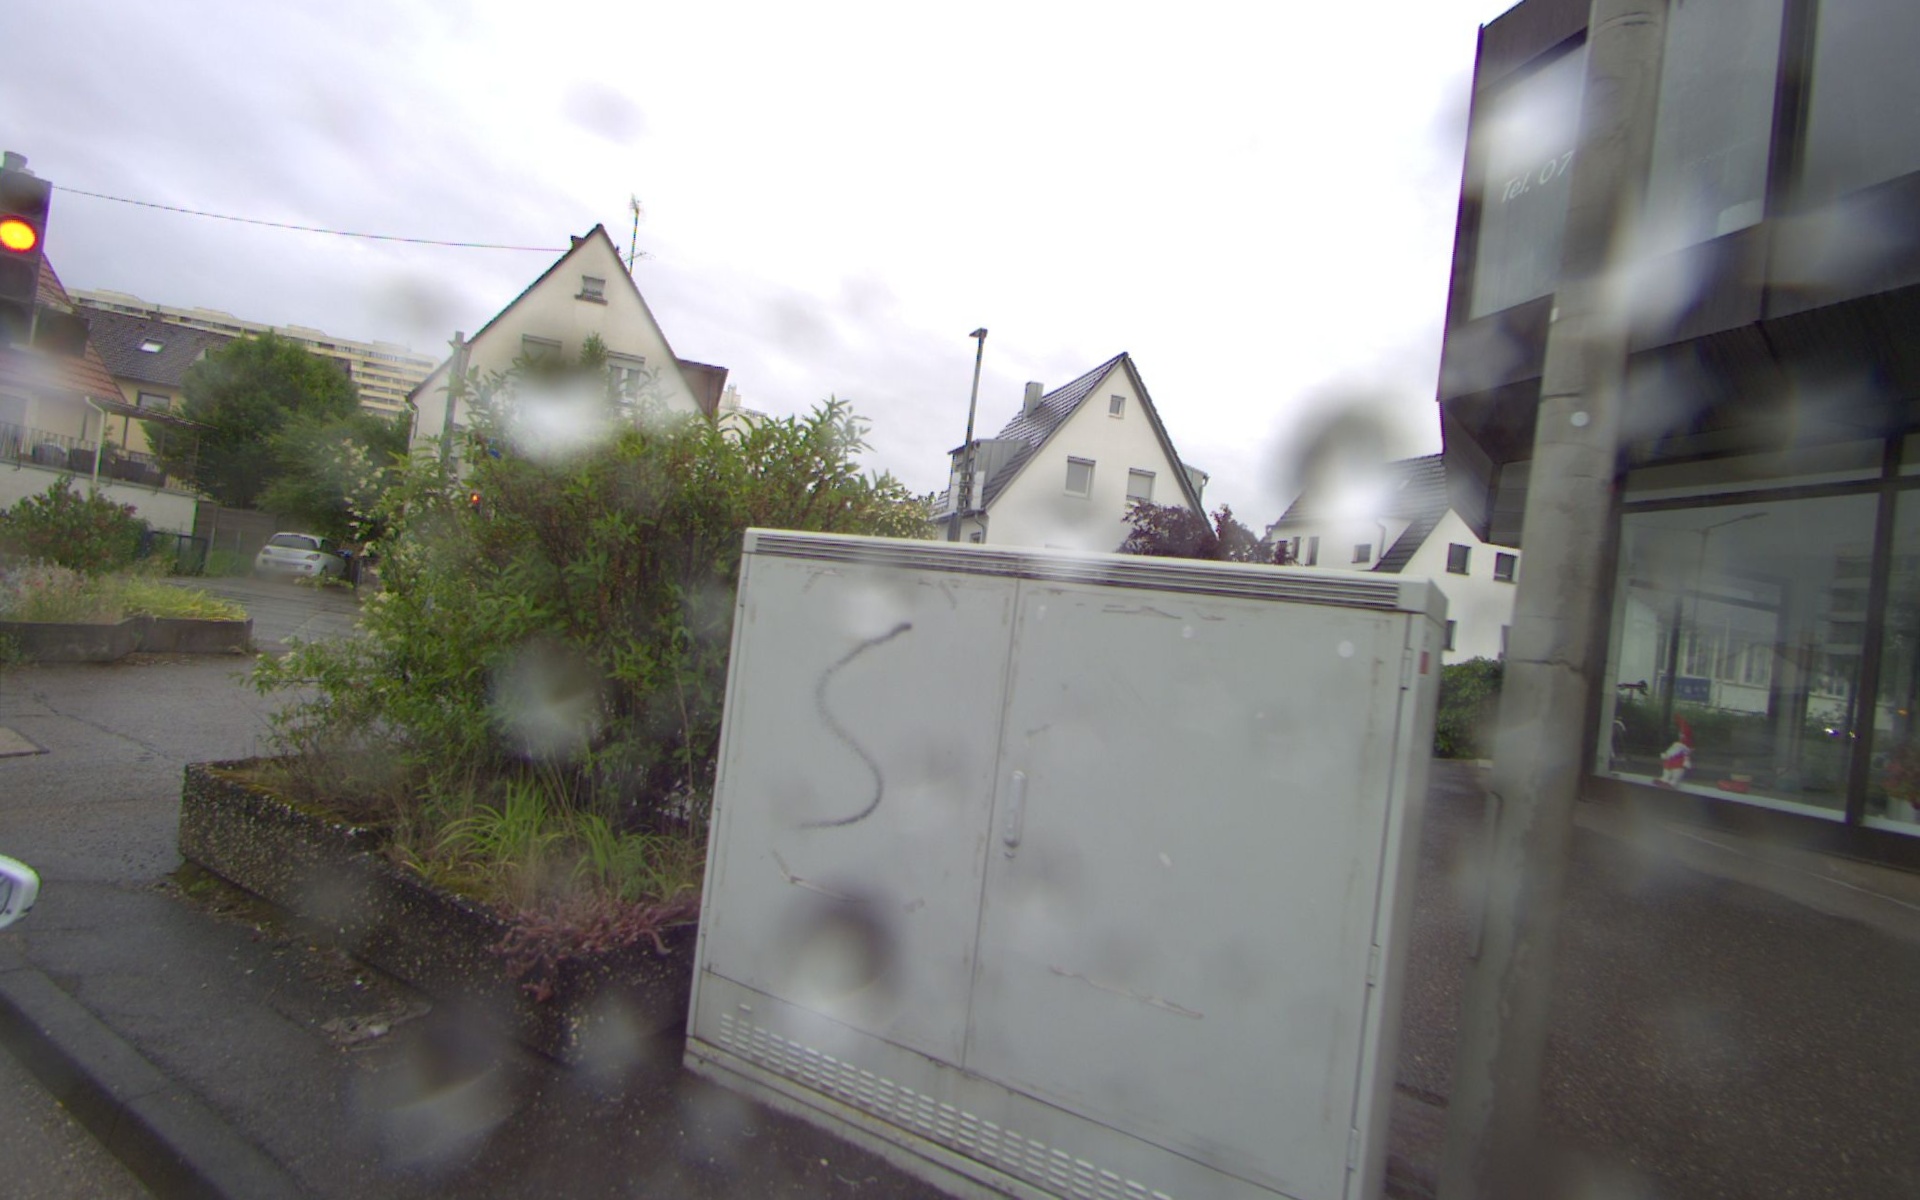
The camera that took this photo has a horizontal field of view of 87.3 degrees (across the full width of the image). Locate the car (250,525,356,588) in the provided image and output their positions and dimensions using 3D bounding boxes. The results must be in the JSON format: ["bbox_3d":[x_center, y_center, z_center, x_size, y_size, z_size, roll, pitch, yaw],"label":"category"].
[{"bbox_3d":[-19.787,-1.290,30.467,1.722,1.532,3.981,8,-1,-21],"label":"car"}]
